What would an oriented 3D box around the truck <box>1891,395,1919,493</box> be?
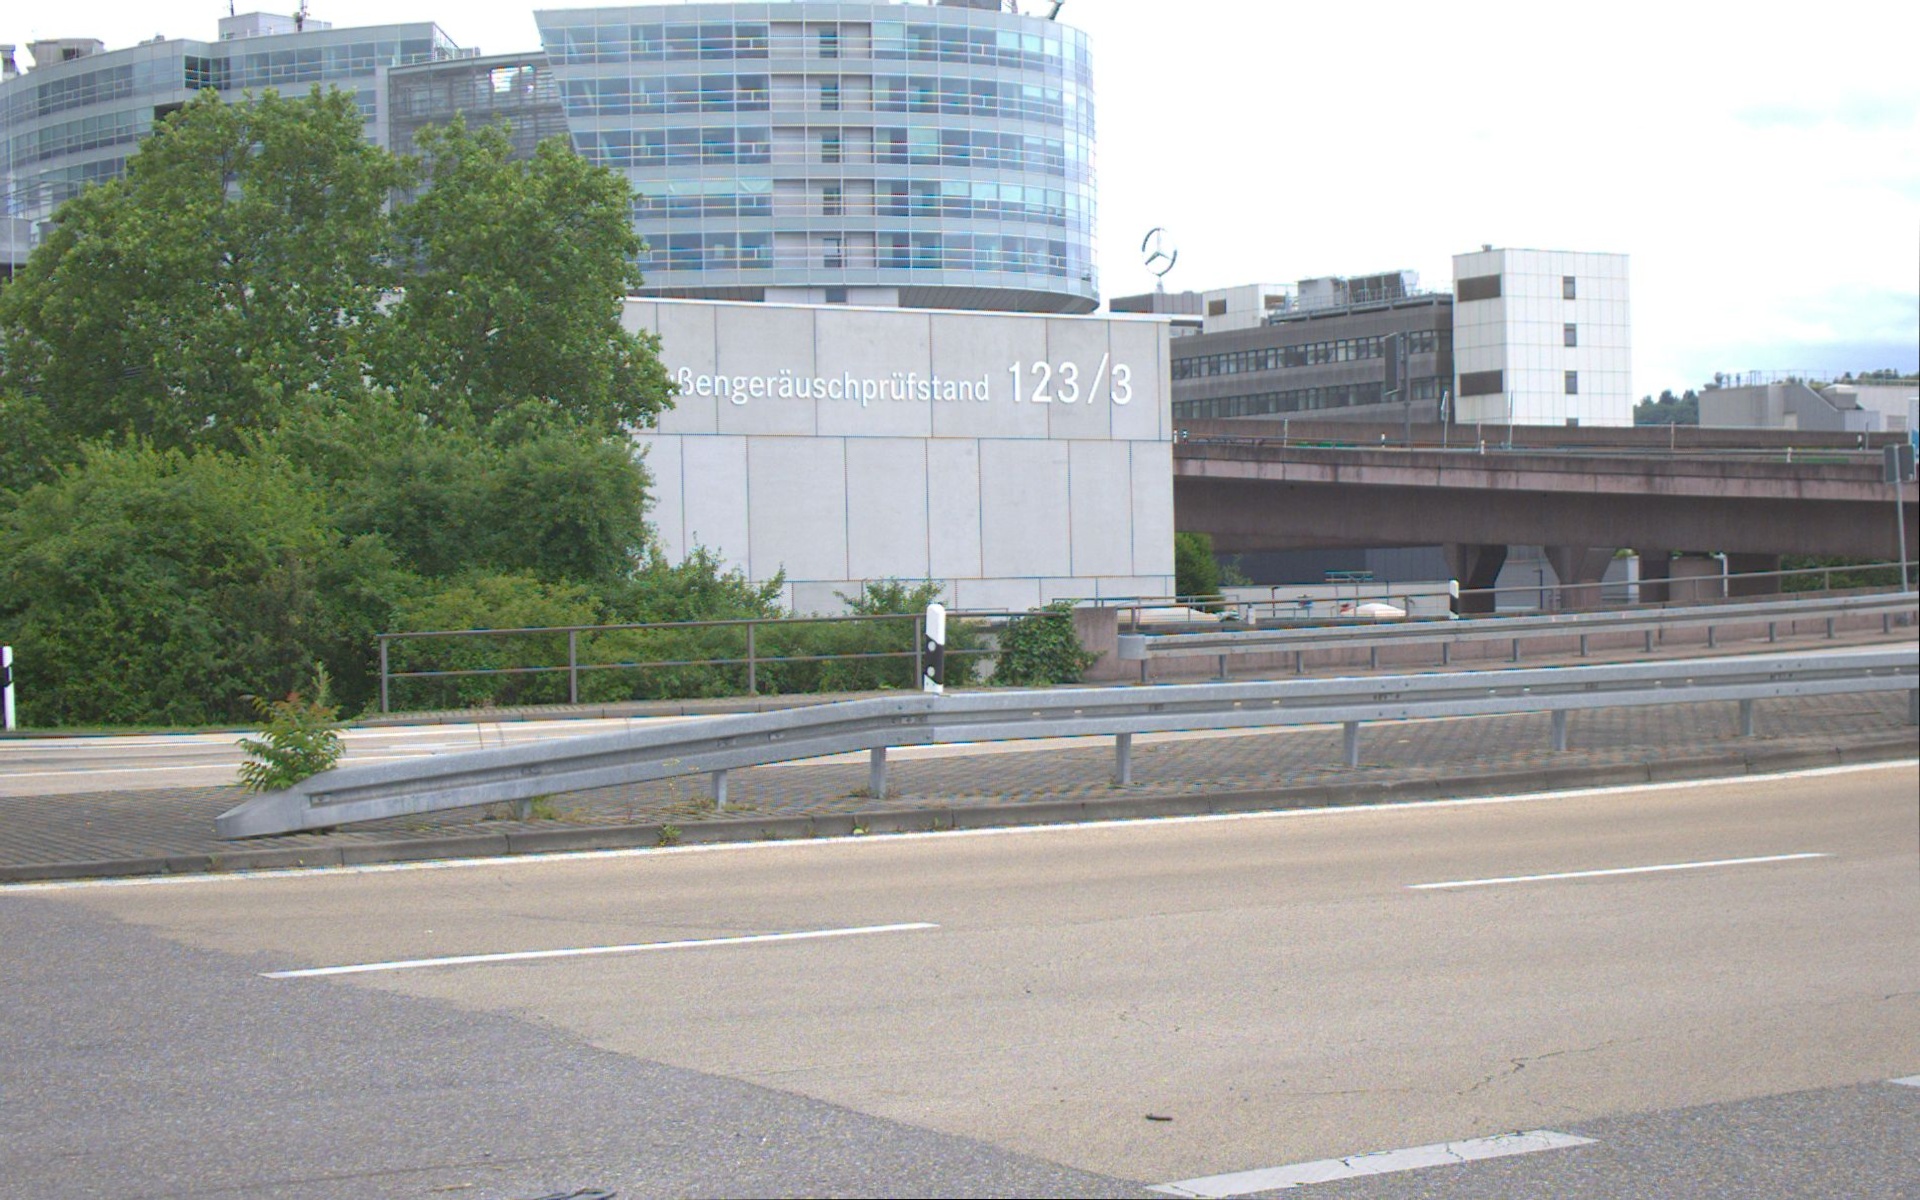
[{"bbox_3d":[35.463,-5.342,116.671,2.323,3.258,7.346,1,0,-42],"label":"truck"}]
